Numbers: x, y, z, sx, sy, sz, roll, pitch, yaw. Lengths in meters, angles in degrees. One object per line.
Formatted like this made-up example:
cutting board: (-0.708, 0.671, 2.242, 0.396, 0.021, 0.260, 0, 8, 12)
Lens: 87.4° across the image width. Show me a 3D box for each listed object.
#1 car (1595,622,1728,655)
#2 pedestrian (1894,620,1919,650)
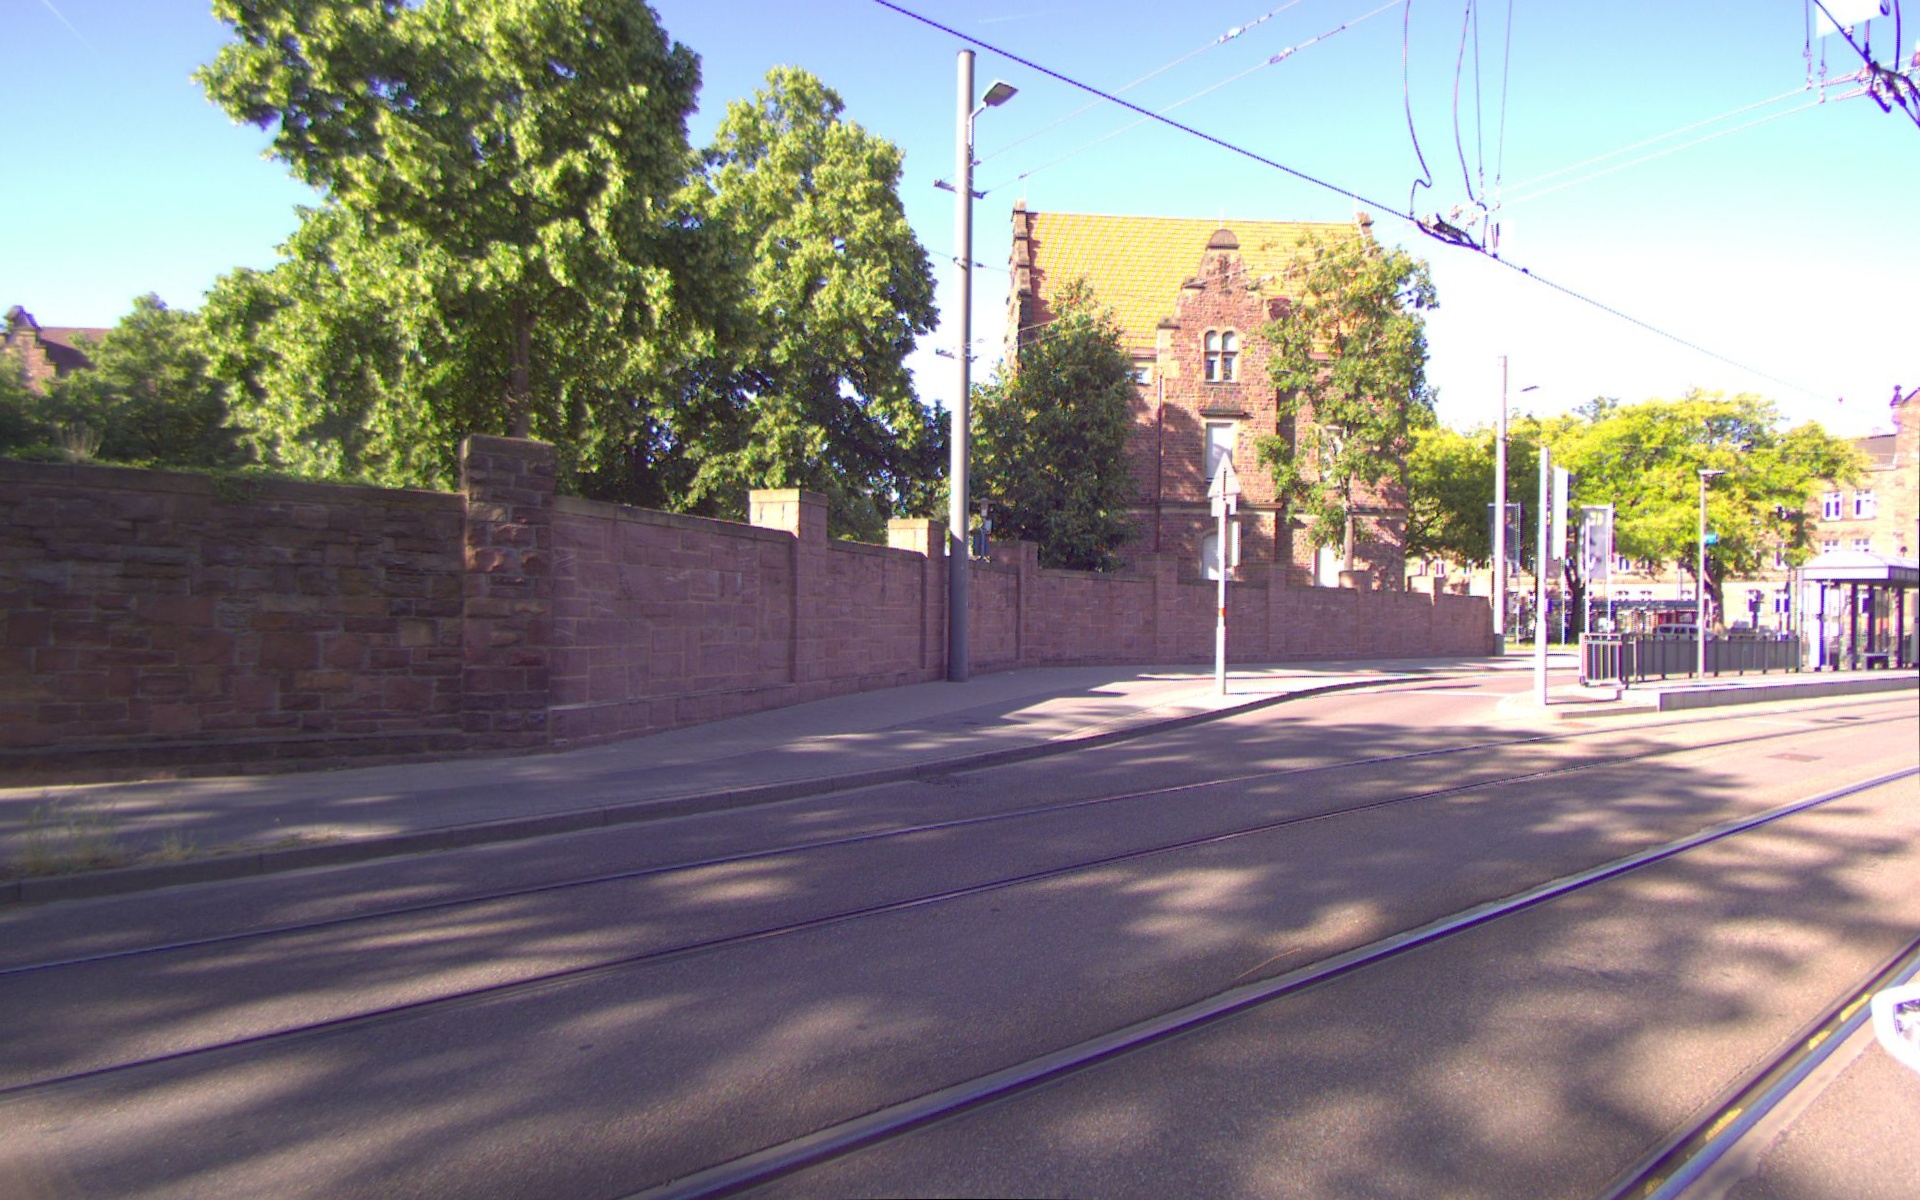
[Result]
car: (47.915, 2.588, 68.804, 2.957, 1.946, 6.915, 1, -1, -30)
pedestrian: (54.423, 2.021, 57.713, 1.017, 1.714, 0.839, 2, 0, -30)
